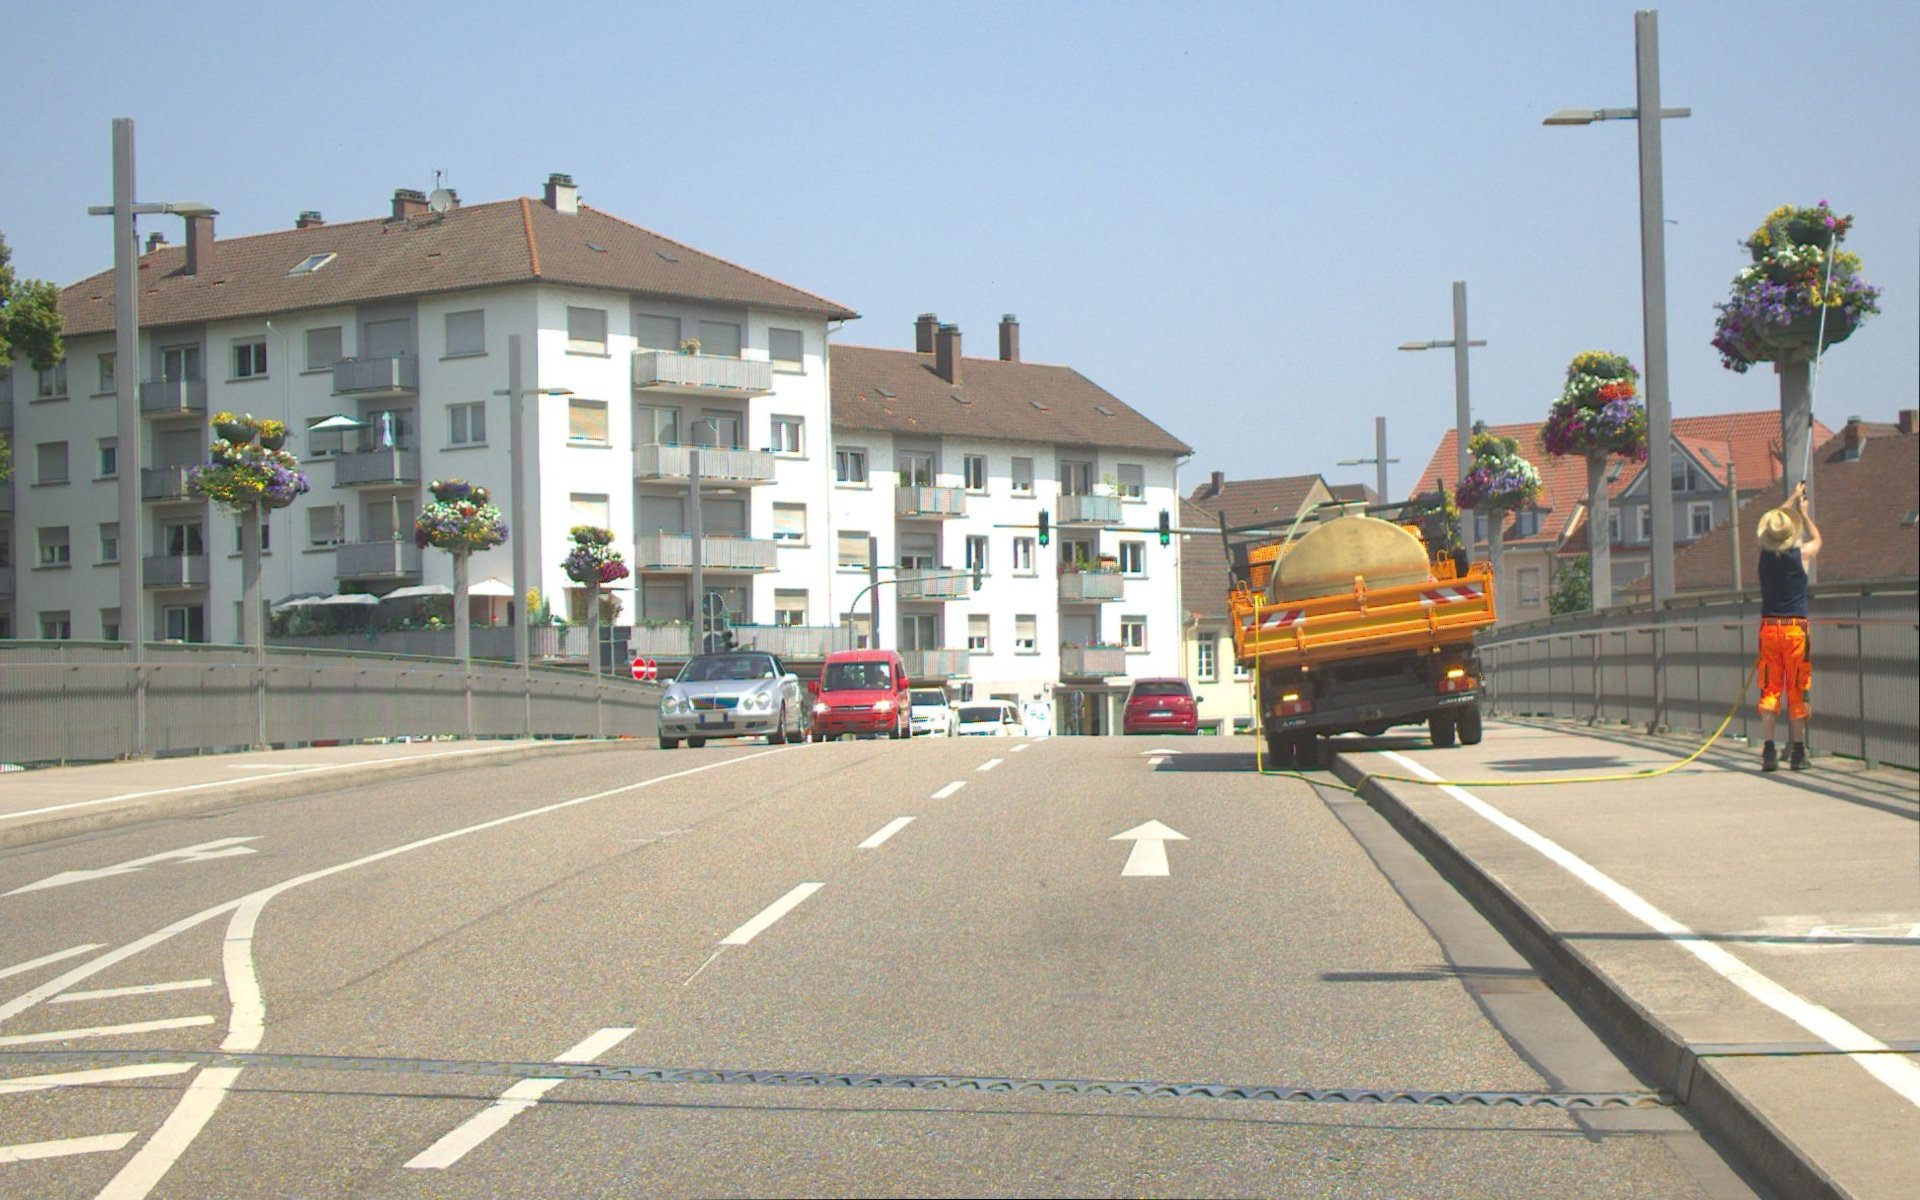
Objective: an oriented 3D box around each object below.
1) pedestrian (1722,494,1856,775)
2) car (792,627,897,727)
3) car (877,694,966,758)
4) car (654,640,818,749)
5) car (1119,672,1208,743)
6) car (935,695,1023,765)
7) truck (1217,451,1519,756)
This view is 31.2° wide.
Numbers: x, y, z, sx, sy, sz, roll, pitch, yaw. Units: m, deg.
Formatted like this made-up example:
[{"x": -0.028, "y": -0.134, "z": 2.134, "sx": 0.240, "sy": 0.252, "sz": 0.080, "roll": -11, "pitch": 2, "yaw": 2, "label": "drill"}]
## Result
[{"x": 5.834, "y": 0.244, "z": 24.212, "sx": 0.670, "sy": 1.953, "sz": 0.548, "roll": 0, "pitch": -2, "yaw": -20, "label": "pedestrian"}, {"x": -2.118, "y": 1.456, "z": 64.161, "sx": 1.736, "sy": 1.771, "sz": 4.176, "roll": -1, "pitch": -2, "yaw": 1, "label": "car"}, {"x": -0.871, "y": 2.940, "z": 80.595, "sx": 1.844, "sy": 1.427, "sz": 4.713, "roll": 1, "pitch": -2, "yaw": 2, "label": "car"}, {"x": -3.142, "y": 1.311, "z": 48.961, "sx": 1.698, "sy": 1.354, "sz": 4.455, "roll": -4, "pitch": -1, "yaw": 4, "label": "car"}, {"x": 4.903, "y": 2.586, "z": 83.384, "sx": 1.990, "sy": 1.607, "sz": 4.342, "roll": -2, "pitch": -1, "yaw": 2, "label": "car"}, {"x": 0.571, "y": 3.722, "z": 99.139, "sx": 1.760, "sy": 1.851, "sz": 4.644, "roll": 1, "pitch": 0, "yaw": 10, "label": "car"}, {"x": 3.889, "y": 0.067, "z": 33.874, "sx": 2.606, "sy": 2.682, "sz": 5.822, "roll": -1, "pitch": -1, "yaw": 4, "label": "truck"}]
